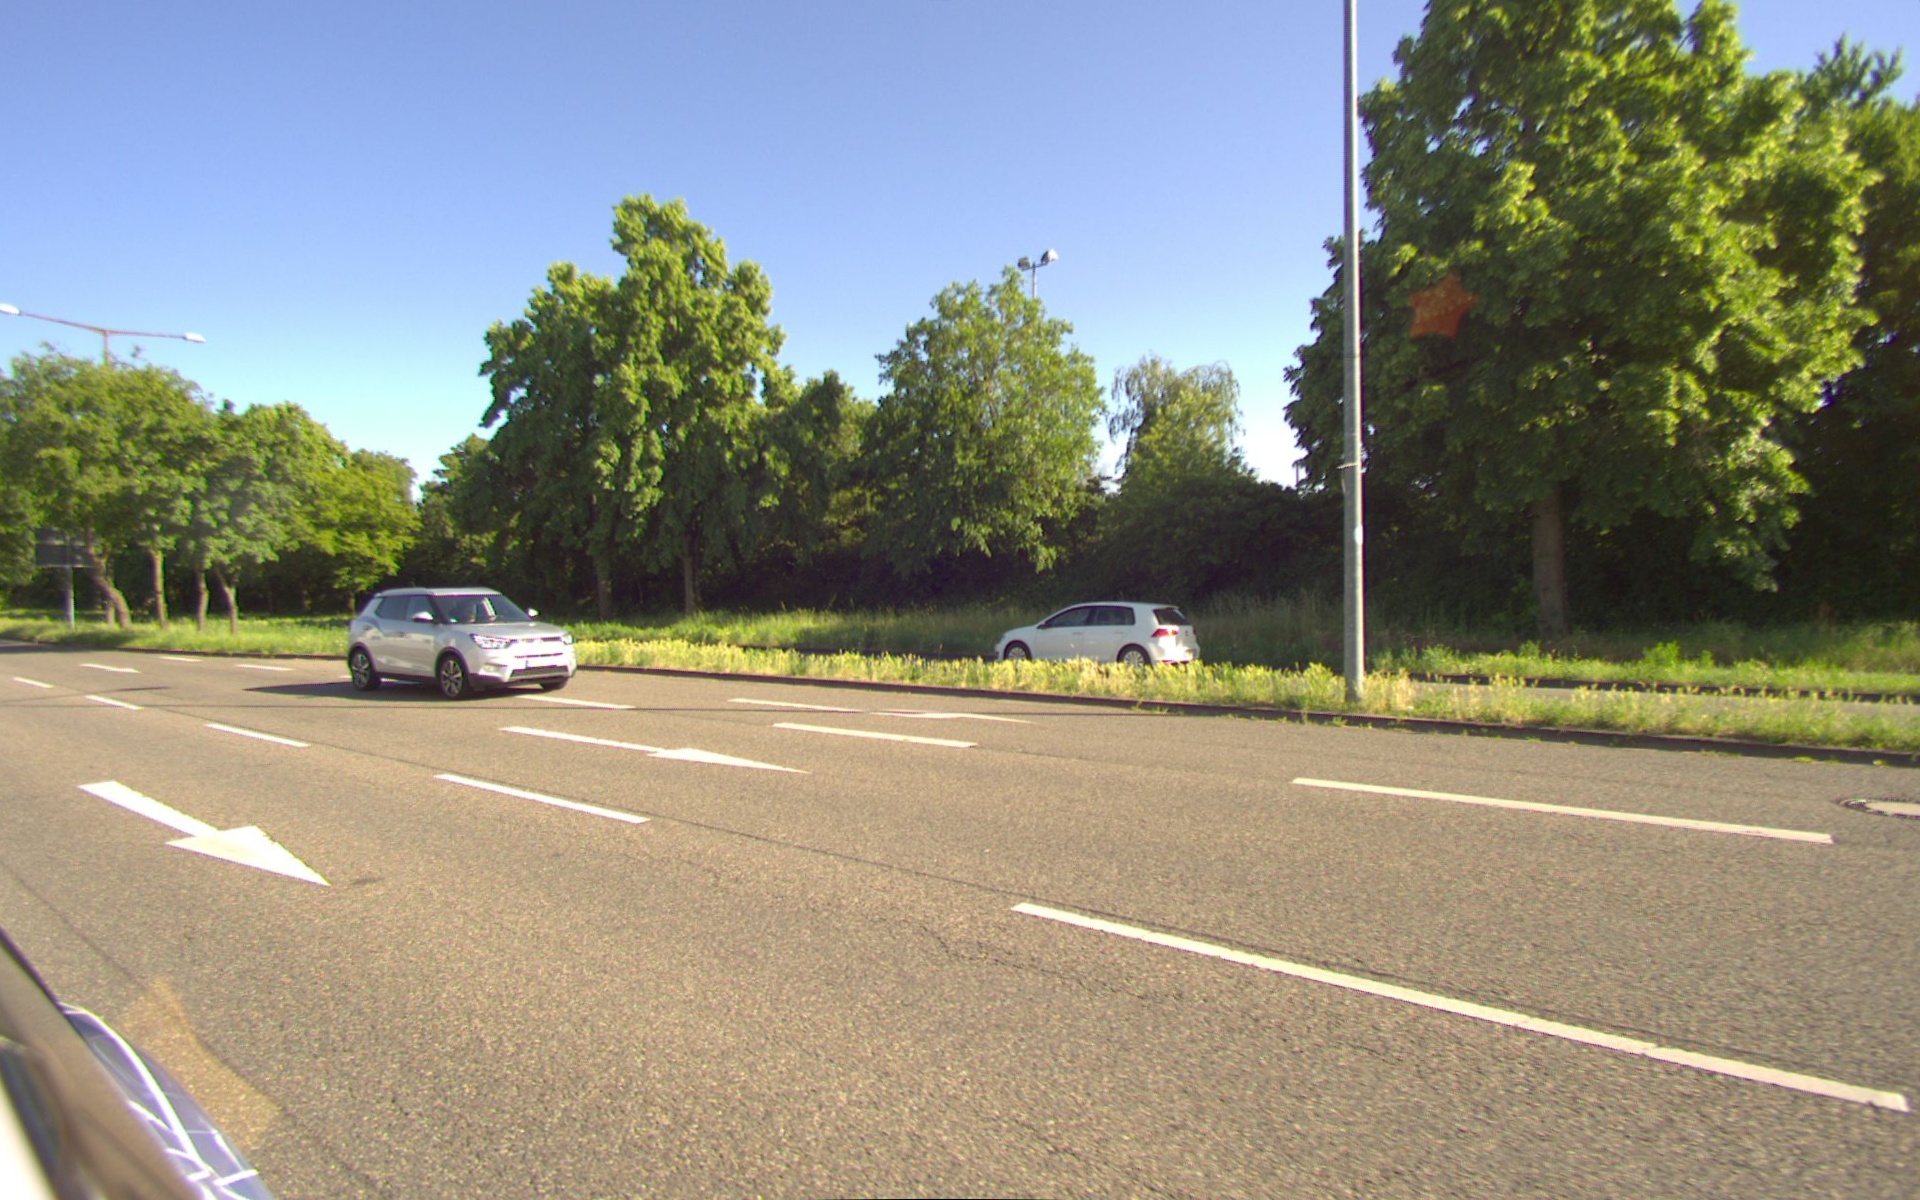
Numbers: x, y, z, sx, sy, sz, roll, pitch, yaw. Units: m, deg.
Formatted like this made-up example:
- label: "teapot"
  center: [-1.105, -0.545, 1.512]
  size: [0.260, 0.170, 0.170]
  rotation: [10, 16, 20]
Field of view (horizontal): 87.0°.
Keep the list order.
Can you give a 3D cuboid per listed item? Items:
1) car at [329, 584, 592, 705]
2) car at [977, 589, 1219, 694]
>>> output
- label: "car"
  center: [-7.721, 0.575, 15.556]
  size: [4.093, 1.622, 1.771]
  rotation: [0, 1, 32]
- label: "car"
  center: [2.653, 0.704, 20.007]
  size: [4.403, 1.715, 1.894]
  rotation: [2, 4, 39]
